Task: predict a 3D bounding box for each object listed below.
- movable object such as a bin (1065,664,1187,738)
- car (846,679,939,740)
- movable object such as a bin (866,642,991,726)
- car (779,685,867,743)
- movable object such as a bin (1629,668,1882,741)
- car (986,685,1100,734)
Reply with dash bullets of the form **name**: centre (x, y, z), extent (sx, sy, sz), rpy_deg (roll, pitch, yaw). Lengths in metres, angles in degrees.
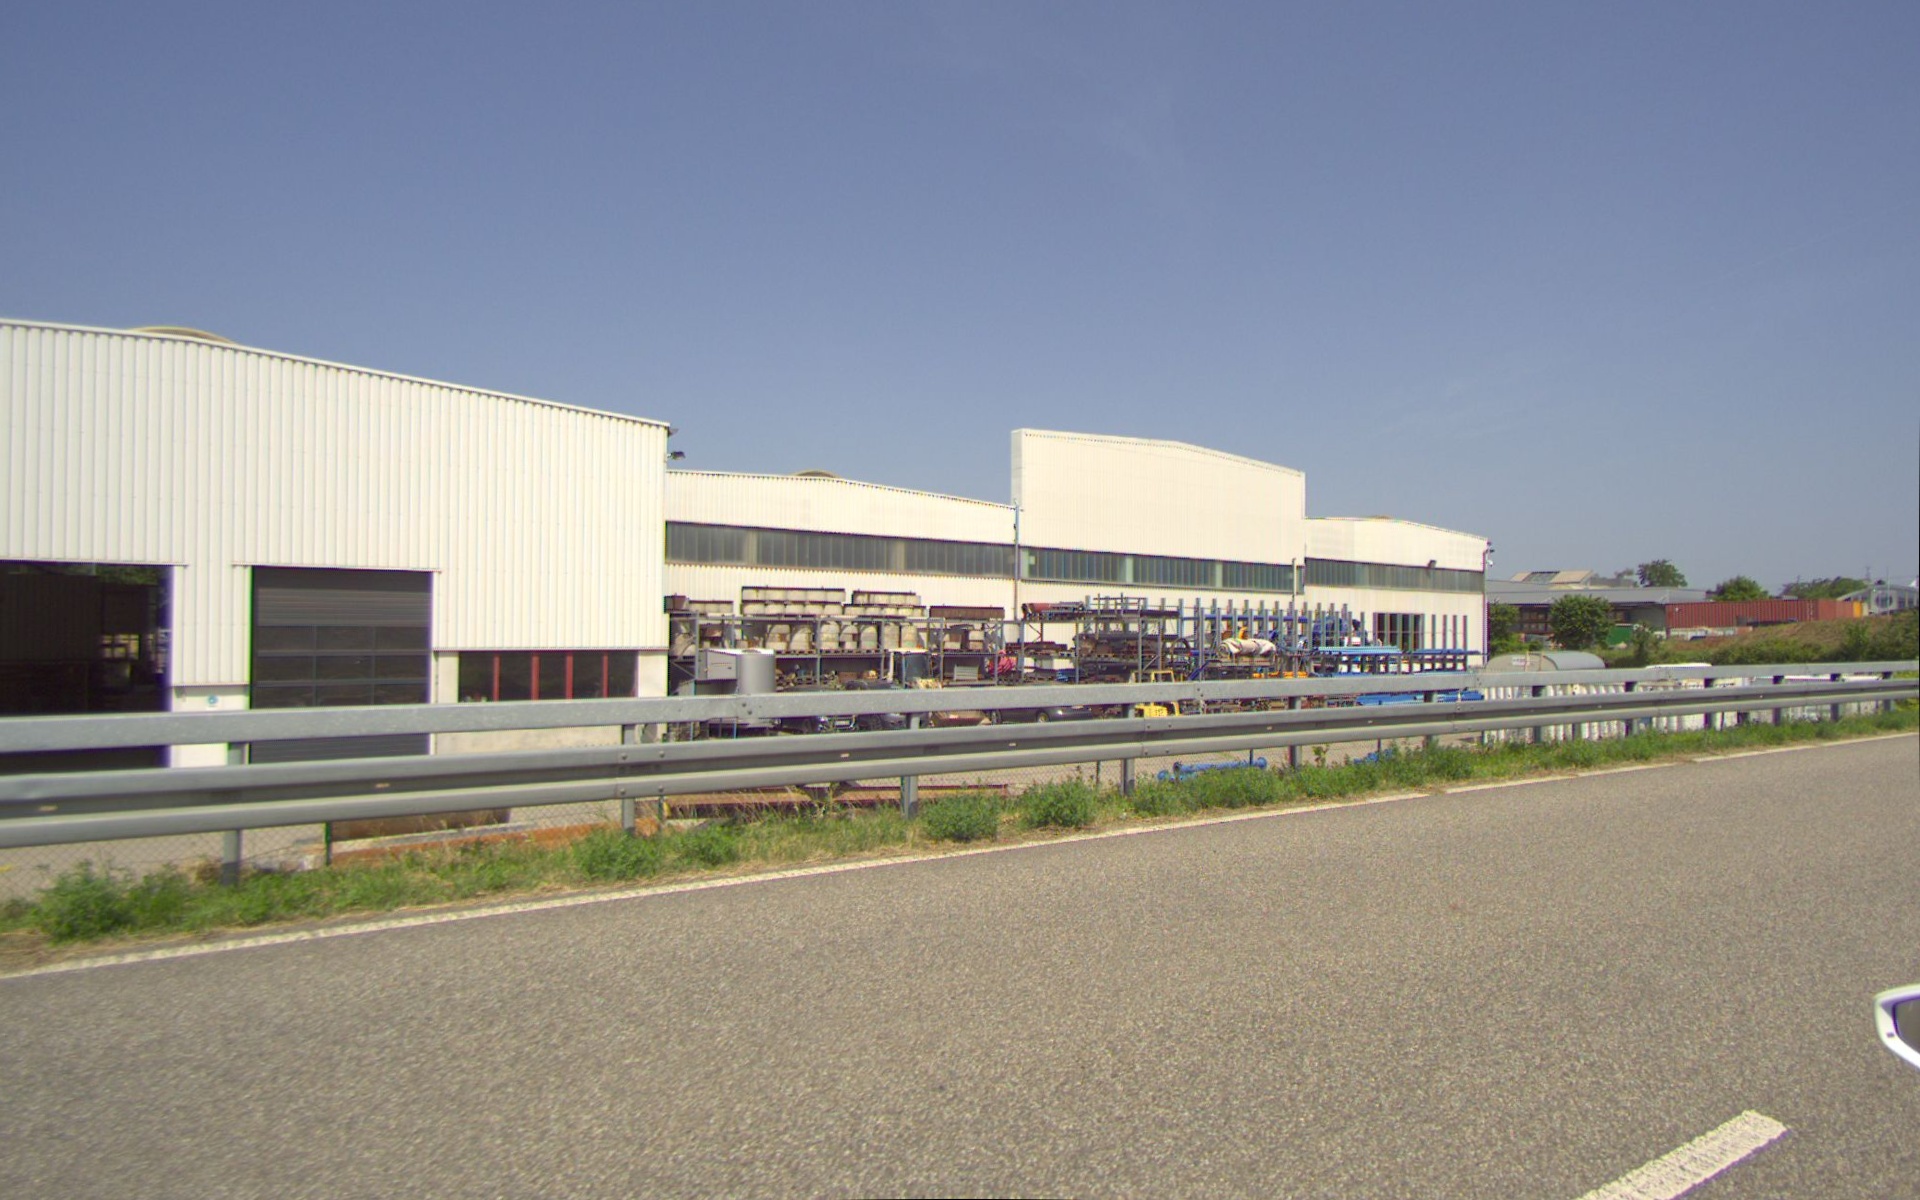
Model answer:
- **movable object such as a bin**: centre (5.485, 3.289, 33.580), extent (1.835, 2.040, 3.835), rpy_deg (2, 0, -36)
- **car**: centre (-2.213, 3.509, 32.279), extent (1.657, 1.796, 3.115), rpy_deg (2, -6, -33)
- **movable object such as a bin**: centre (-1.170, 2.970, 35.112), extent (2.115, 2.714, 4.511), rpy_deg (2, -6, -38)
- **car**: centre (-4.335, 3.570, 31.565), extent (1.452, 1.696, 3.235), rpy_deg (2, -6, -34)
- **movable object such as a bin**: centre (25.170, 3.219, 32.051), extent (2.425, 2.045, 5.859), rpy_deg (1, -4, -35)
- **car**: centre (2.753, 3.668, 34.059), extent (1.708, 1.540, 3.963), rpy_deg (2, -5, -35)
